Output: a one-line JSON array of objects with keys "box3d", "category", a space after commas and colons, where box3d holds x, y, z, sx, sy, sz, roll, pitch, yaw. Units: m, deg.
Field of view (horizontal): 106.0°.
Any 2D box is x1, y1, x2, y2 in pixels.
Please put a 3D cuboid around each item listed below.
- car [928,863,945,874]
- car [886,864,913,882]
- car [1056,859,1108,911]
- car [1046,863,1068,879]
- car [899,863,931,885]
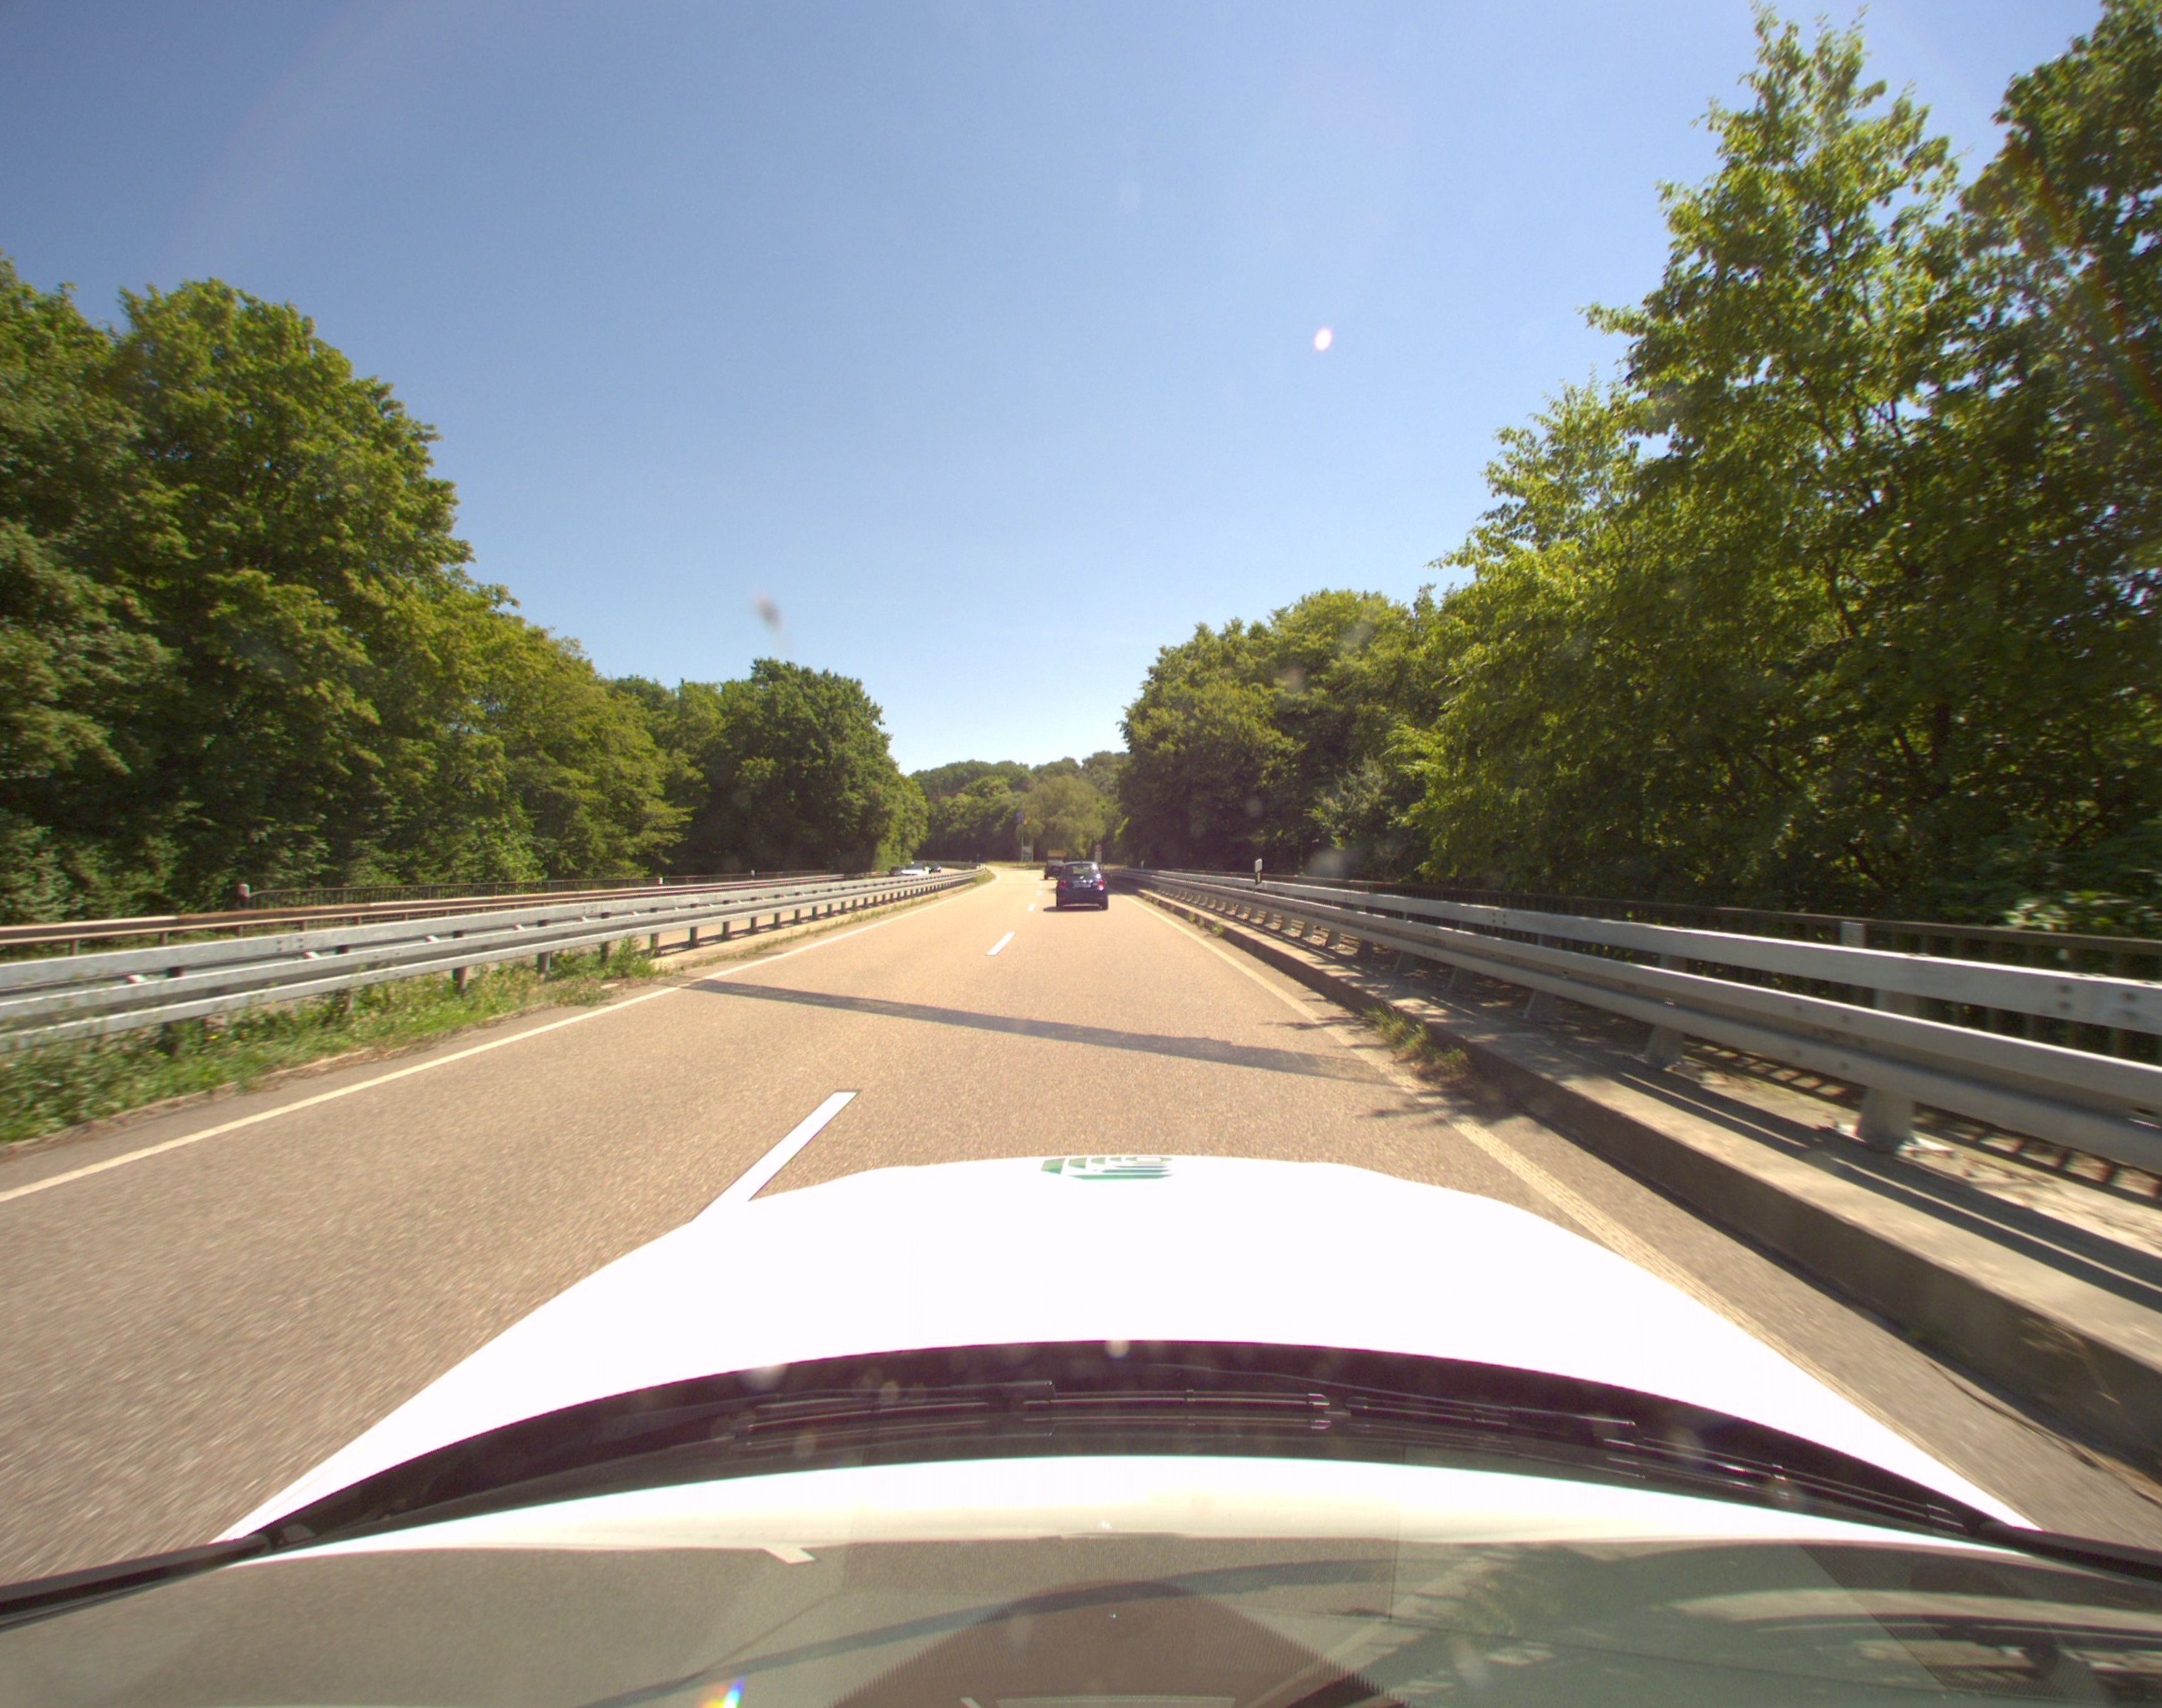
[{"box3d": [-22.029, 2.215, 124.331, 1.751, 1.528, 4.680, -1, 0, -2], "category": "car"}, {"box3d": [-16.419, 1.692, 73.848, 1.647, 1.528, 3.994, -1, 0, -2], "category": "car"}, {"box3d": [0.025, 0.939, 26.099, 1.509, 1.501, 3.589, -1, 0, -1], "category": "car"}, {"box3d": [-2.124, 1.431, 70.112, 1.524, 1.314, 3.406, -1, 0, -8], "category": "car"}, {"box3d": [-12.551, 1.475, 61.689, 1.647, 1.606, 4.216, -1, 0, -2], "category": "car"}]
